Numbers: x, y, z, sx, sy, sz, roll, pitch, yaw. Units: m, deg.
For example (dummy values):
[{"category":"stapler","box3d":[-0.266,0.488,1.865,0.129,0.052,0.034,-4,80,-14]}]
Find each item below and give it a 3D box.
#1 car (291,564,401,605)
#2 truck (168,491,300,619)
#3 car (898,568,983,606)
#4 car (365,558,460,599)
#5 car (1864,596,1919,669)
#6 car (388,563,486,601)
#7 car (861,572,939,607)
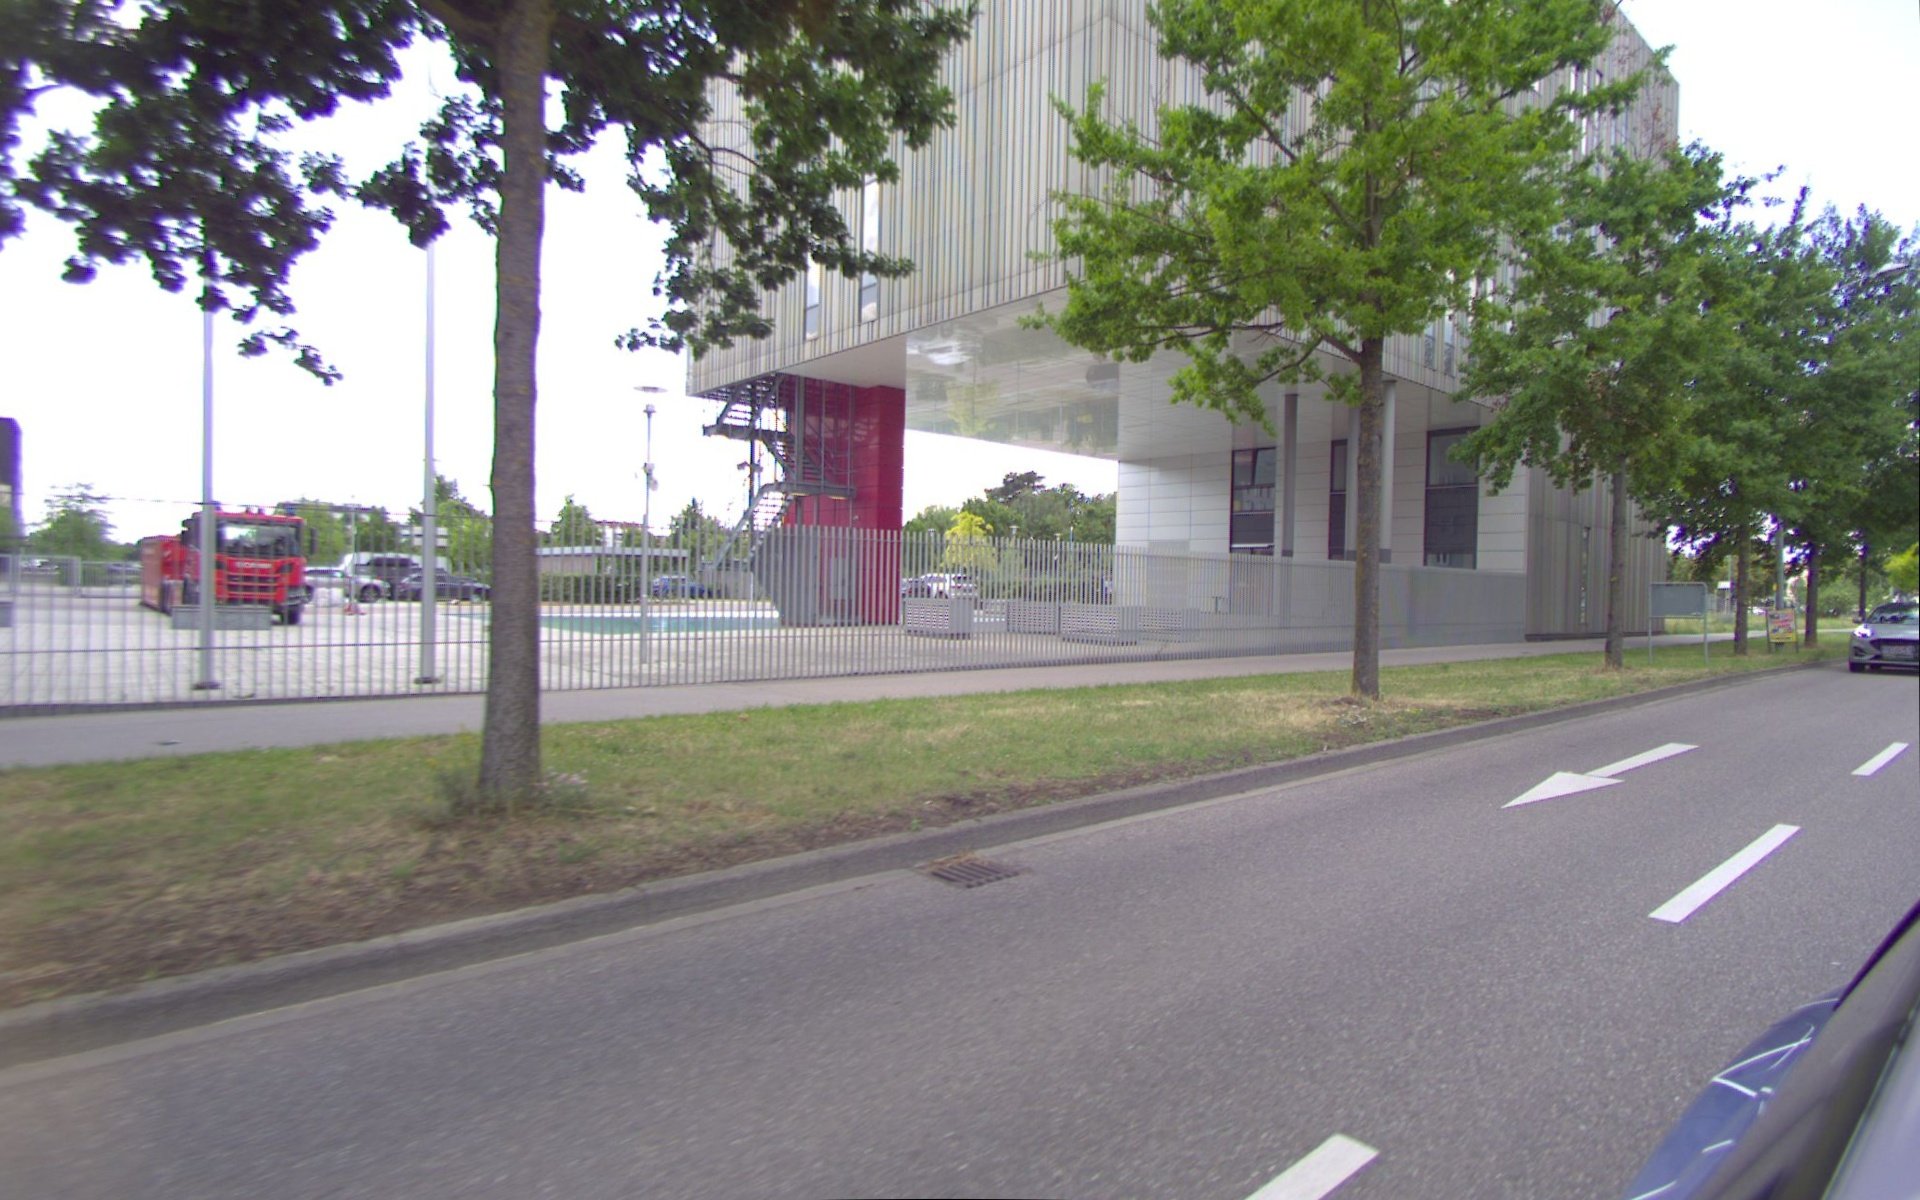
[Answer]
[{"category":"car","box3d":[-29.239,-0.747,48.249,4.238,1.896,1.997,-1,1,-40]},{"category":"truck","box3d":[-19.775,-1.112,27.443,2.280,3.108,5.699,-1,0,-42]},{"category":"car","box3d":[-1.002,-0.636,50.501,1.965,1.825,4.306,-1,1,-41]},{"category":"car","box3d":[-29.552,-1.141,54.662,4.237,2.111,1.997,0,0,-40]},{"category":"car","box3d":[21.074,0.658,22.074,4.023,1.490,1.671,0,0,-43]},{"category":"car","box3d":[-27.394,-0.935,53.100,4.238,1.896,1.997,-1,1,-40]},{"category":"car","box3d":[-2.896,-0.478,48.350,1.839,1.610,3.665,-1,1,-41]}]
